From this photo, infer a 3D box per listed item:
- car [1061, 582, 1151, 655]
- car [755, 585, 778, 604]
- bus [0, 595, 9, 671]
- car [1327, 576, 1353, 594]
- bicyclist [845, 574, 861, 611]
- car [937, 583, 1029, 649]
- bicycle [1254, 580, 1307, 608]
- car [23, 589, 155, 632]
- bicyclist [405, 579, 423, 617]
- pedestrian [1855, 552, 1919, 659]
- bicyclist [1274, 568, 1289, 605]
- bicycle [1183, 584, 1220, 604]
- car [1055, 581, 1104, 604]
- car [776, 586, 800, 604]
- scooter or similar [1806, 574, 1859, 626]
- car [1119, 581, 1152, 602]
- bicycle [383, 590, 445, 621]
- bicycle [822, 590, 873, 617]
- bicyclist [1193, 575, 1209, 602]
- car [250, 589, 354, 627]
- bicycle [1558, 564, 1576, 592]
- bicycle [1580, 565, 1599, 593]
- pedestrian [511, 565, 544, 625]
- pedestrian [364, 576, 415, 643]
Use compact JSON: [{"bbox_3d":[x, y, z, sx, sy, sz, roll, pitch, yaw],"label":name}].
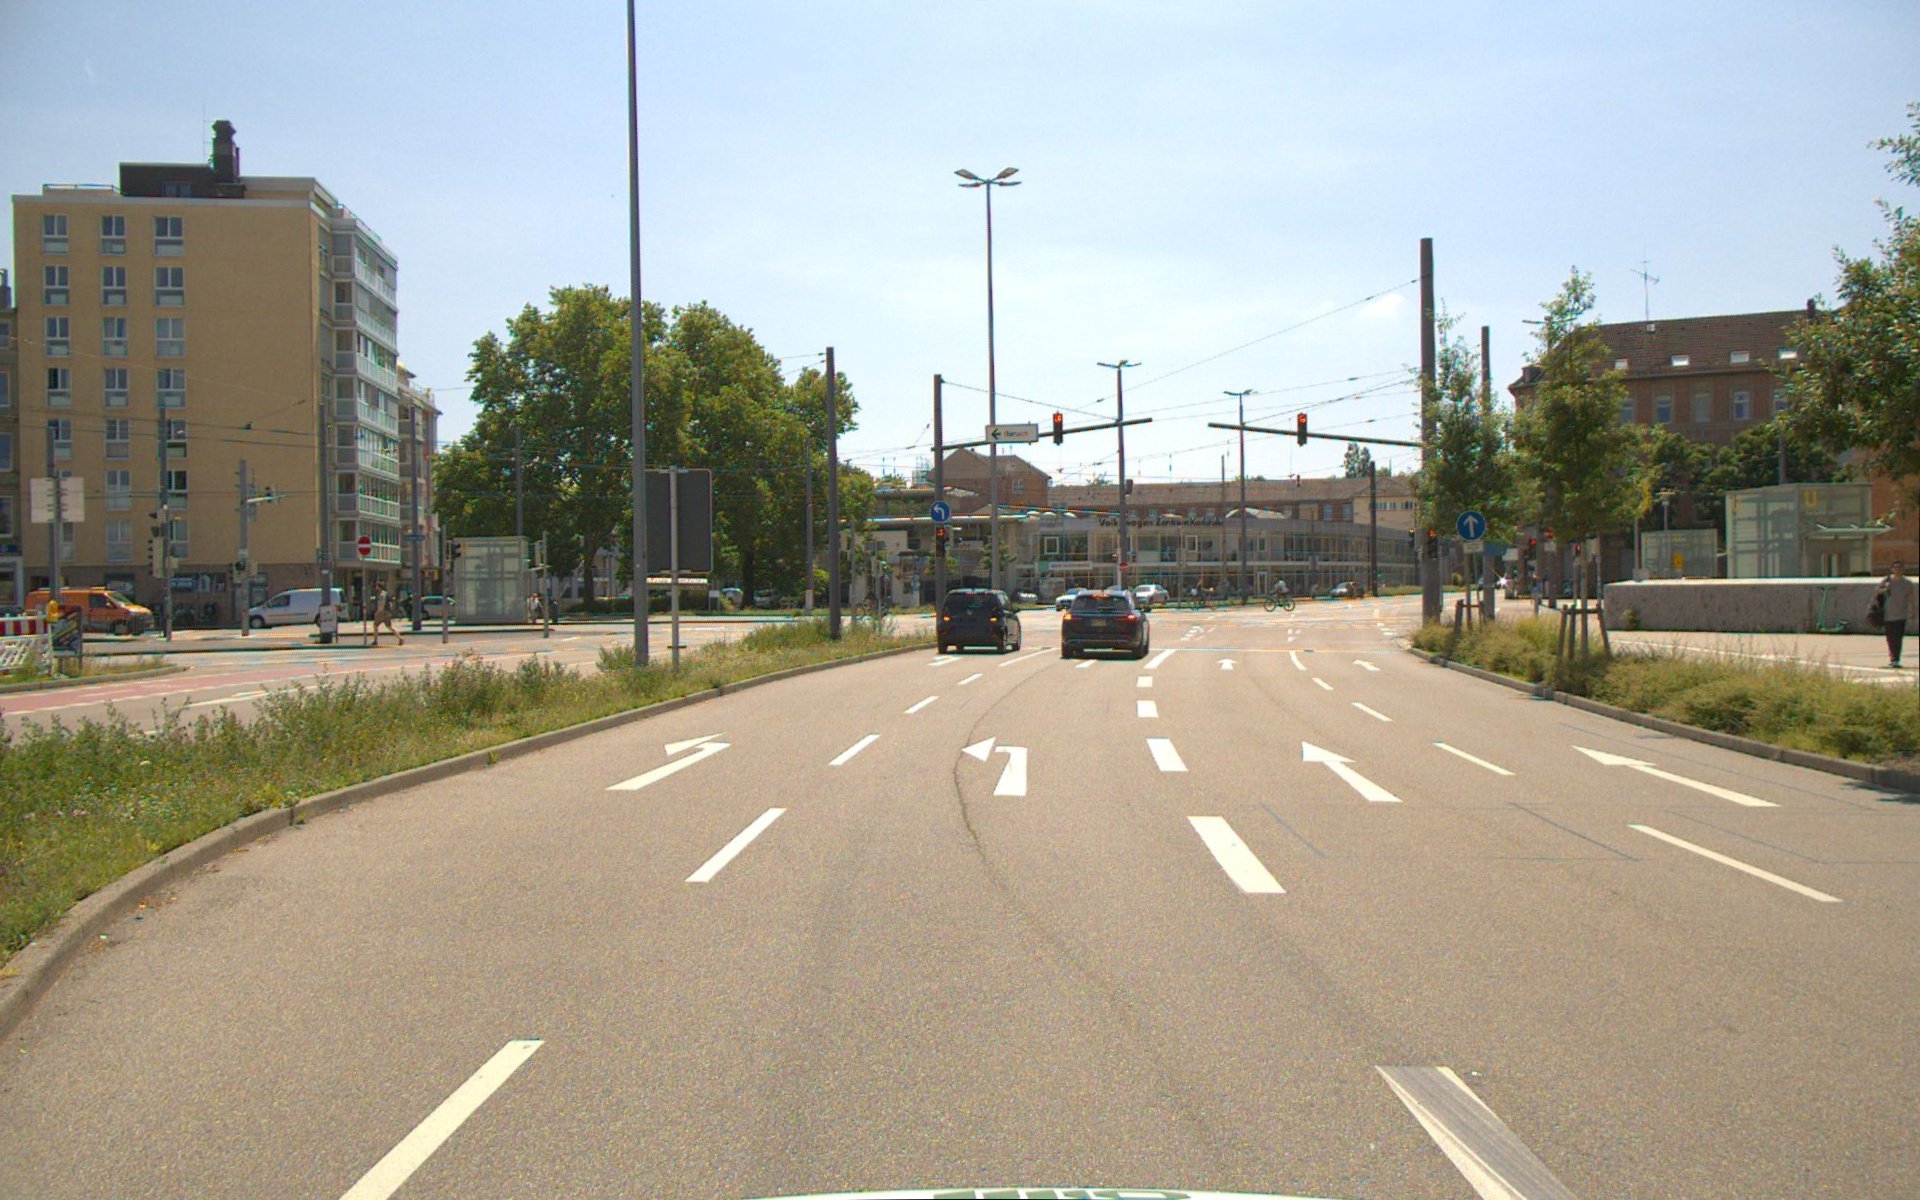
[{"bbox_3d":[3.423,0.386,38.141,1.680,1.584,4.591,-1,0,10],"label":"car"},{"bbox_3d":[-16.931,-0.467,144.962,1.394,1.534,3.441,0,2,4],"label":"car"},{"bbox_3d":[-17.004,0.691,25.335,1.218,1.271,5.824,0,3,3],"label":"bus"},{"bbox_3d":[33.920,-1.355,147.688,1.539,1.452,3.611,1,3,25],"label":"car"},{"bbox_3d":[-5.916,-0.400,91.358,0.828,1.999,0.627,0,2,3],"label":"bicyclist"},{"bbox_3d":[0.597,0.349,39.671,1.586,1.489,4.004,0,0,10],"label":"car"},{"bbox_3d":[17.197,-0.307,88.832,2.765,1.488,0.634,0,2,8],"label":"bicycle"},{"bbox_3d":[-36.289,0.435,68.999,4.532,1.641,1.675,-1,2,-5],"label":"car"},{"bbox_3d":[-31.591,-0.114,95.753,0.731,2.142,0.766,-2,3,-38],"label":"bicyclist"},{"bbox_3d":[15.300,0.085,27.302,0.716,1.735,0.811,0,1,11],"label":"pedestrian"},{"bbox_3d":[17.262,-0.712,88.814,0.747,1.971,0.661,0,2,8],"label":"bicyclist"},{"bbox_3d":[13.968,-0.348,95.657,2.120,1.126,0.456,-1,2,-8],"label":"bicycle"},{"bbox_3d":[7.435,-0.475,102.653,1.588,1.414,4.120,-1,0,27],"label":"car"},{"bbox_3d":[-14.981,-0.448,143.944,1.478,1.443,3.424,0,2,4],"label":"car"},{"bbox_3d":[21.051,-0.002,39.932,0.389,1.187,1.286,-1,2,-12],"label":"scooter or similar"},{"bbox_3d":[12.135,-0.594,114.173,1.402,1.307,3.261,0,3,22],"label":"car"},{"bbox_3d":[-31.596,0.298,95.768,3.288,1.623,0.808,-2,3,-37],"label":"bicycle"},{"bbox_3d":[-6.195,0.186,91.396,2.716,1.409,0.671,0,2,3],"label":"bicycle"},{"bbox_3d":[13.935,-0.665,95.649,0.718,1.505,0.655,-1,2,-8],"label":"bicyclist"},{"bbox_3d":[-31.226,0.346,78.595,4.228,1.655,1.811,-1,2,-10],"label":"car"},{"bbox_3d":[41.213,-1.497,112.249,0.599,1.819,3.185,0,2,10],"label":"bicycle"},{"bbox_3d":[42.579,-1.417,111.919,0.599,1.819,3.185,0,2,10],"label":"bicycle"},{"bbox_3d":[-22.020,-0.255,84.182,1.188,2.989,1.337,0,2,7],"label":"pedestrian"},{"bbox_3d":[-17.219,0.290,49.978,1.154,1.966,0.903,0,2,4],"label":"pedestrian"}]
